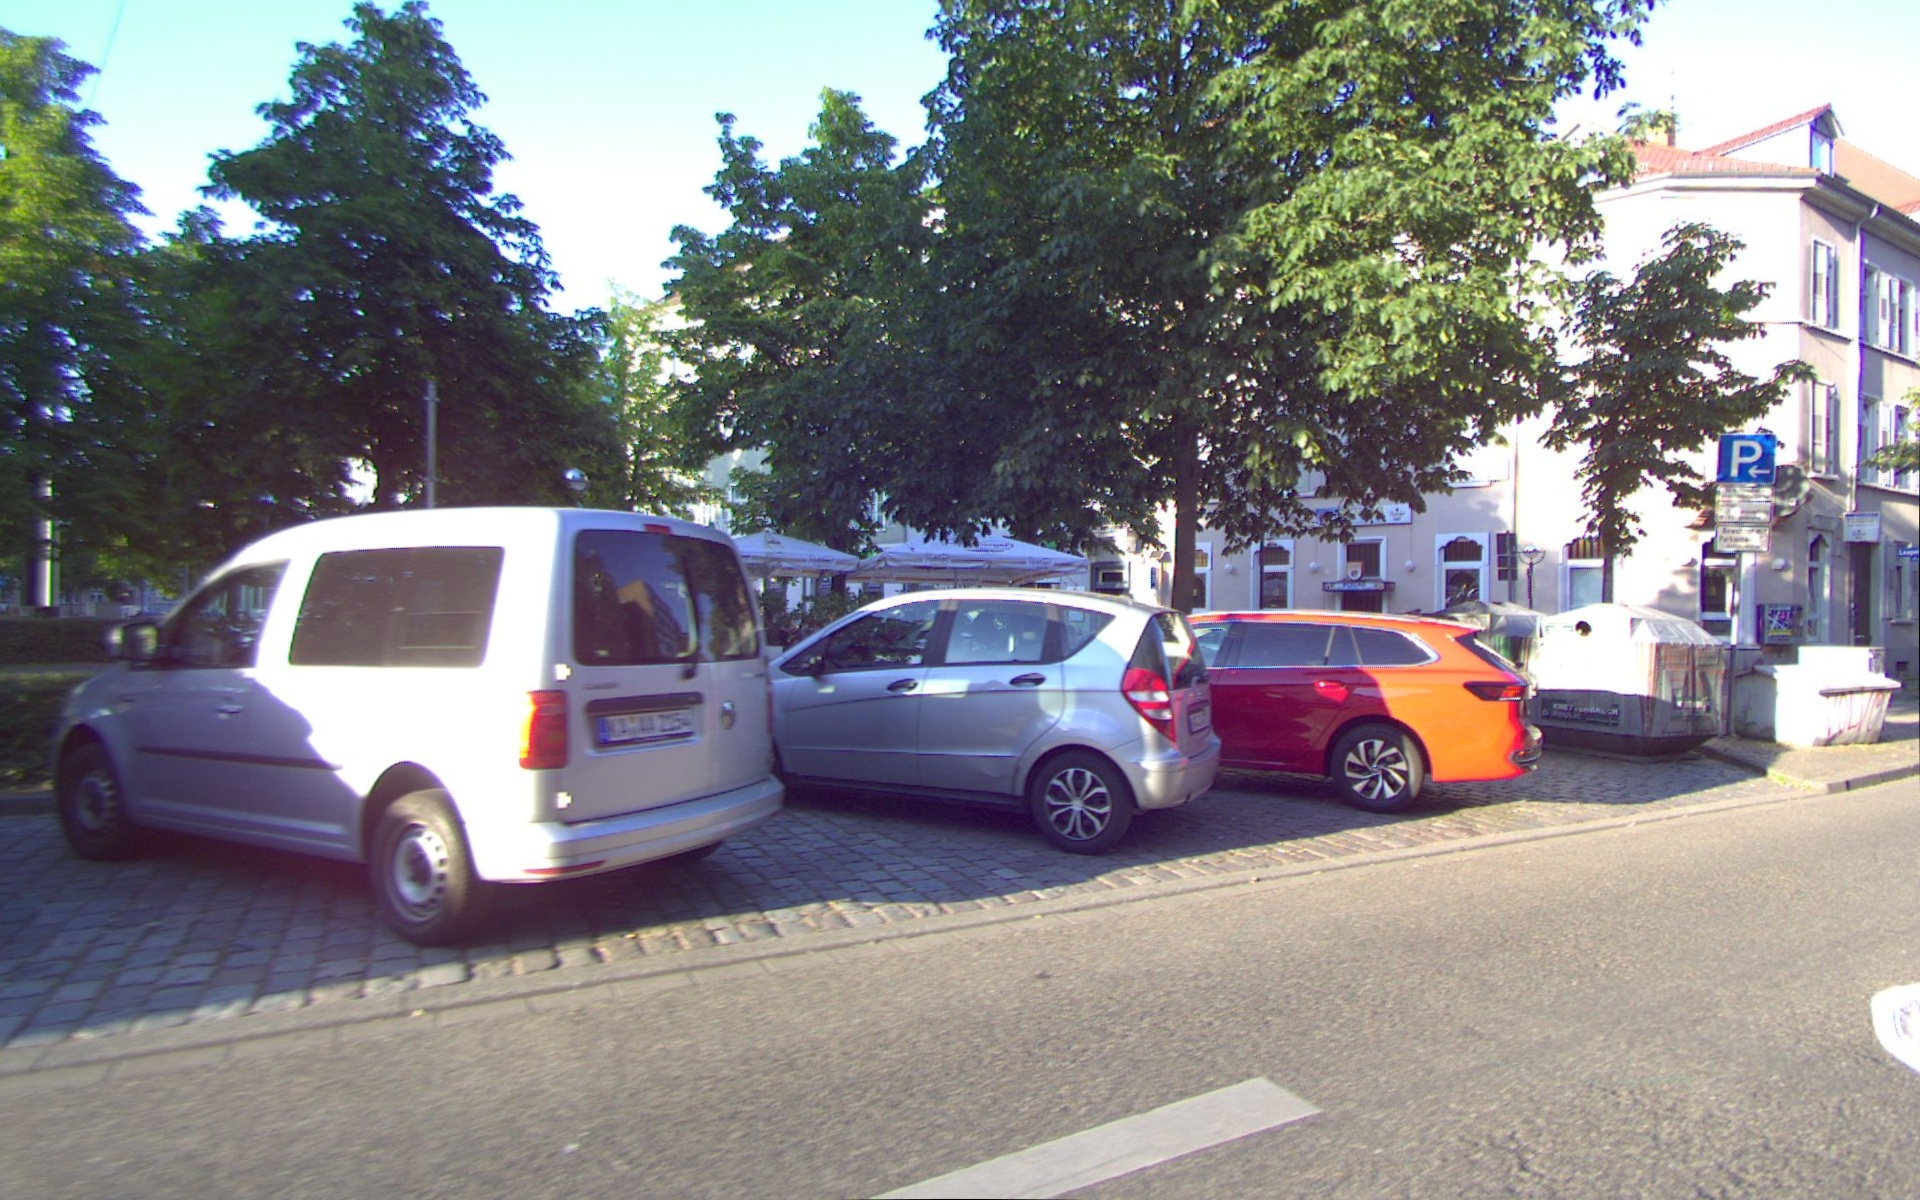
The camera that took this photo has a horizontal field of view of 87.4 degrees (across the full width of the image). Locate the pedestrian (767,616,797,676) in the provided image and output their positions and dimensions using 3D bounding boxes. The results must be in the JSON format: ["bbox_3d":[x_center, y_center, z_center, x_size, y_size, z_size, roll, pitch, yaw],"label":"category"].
[{"bbox_3d":[-3.723,0.961,21.018,0.519,1.232,0.533,0,-2,-22],"label":"pedestrian"}]

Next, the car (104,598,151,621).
[{"bbox_3d":[-65.850,0.761,79.435,3.936,1.728,1.992,0,-1,37],"label":"car"}]

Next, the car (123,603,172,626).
[{"bbox_3d":[-61.424,1.113,75.908,3.936,1.639,1.992,0,-1,37],"label":"car"}]

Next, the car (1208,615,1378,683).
[{"bbox_3d":[7.861,1.094,23.814,3.471,1.399,1.699,1,0,39],"label":"car"}]

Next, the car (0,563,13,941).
[{"bbox_3d":[-5.973,0.546,3.943,3.923,1.512,1.849,2,0,23],"label":"car"}]

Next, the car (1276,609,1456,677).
[{"bbox_3d":[11.324,1.140,28.110,4.360,1.699,1.954,0,0,35],"label":"car"}]

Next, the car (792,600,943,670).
[{"bbox_3d":[-3.040,1.056,32.432,4.757,2.013,2.034,1,0,39],"label":"car"}]

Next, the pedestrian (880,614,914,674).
[{"bbox_3d":[-1.265,0.874,20.020,0.527,1.187,0.578,1,-2,-22],"label":"pedestrian"}]

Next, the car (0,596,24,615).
[{"bbox_3d":[-89.710,0.537,94.328,3.936,1.706,1.992,1,0,37],"label":"car"}]

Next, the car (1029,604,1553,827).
[{"bbox_3d":[2.800,0.821,8.729,3.926,1.505,1.997,0,-1,28],"label":"car"}]

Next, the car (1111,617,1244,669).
[{"bbox_3d":[6.739,1.284,31.332,3.778,1.430,1.534,1,0,39],"label":"car"}]

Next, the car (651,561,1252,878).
[{"bbox_3d":[-0.079,0.642,7.232,3.924,1.719,1.748,2,0,25],"label":"car"}]

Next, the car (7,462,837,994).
[{"bbox_3d":[-2.824,0.431,5.275,3.924,1.903,1.869,1,0,25],"label":"car"}]
